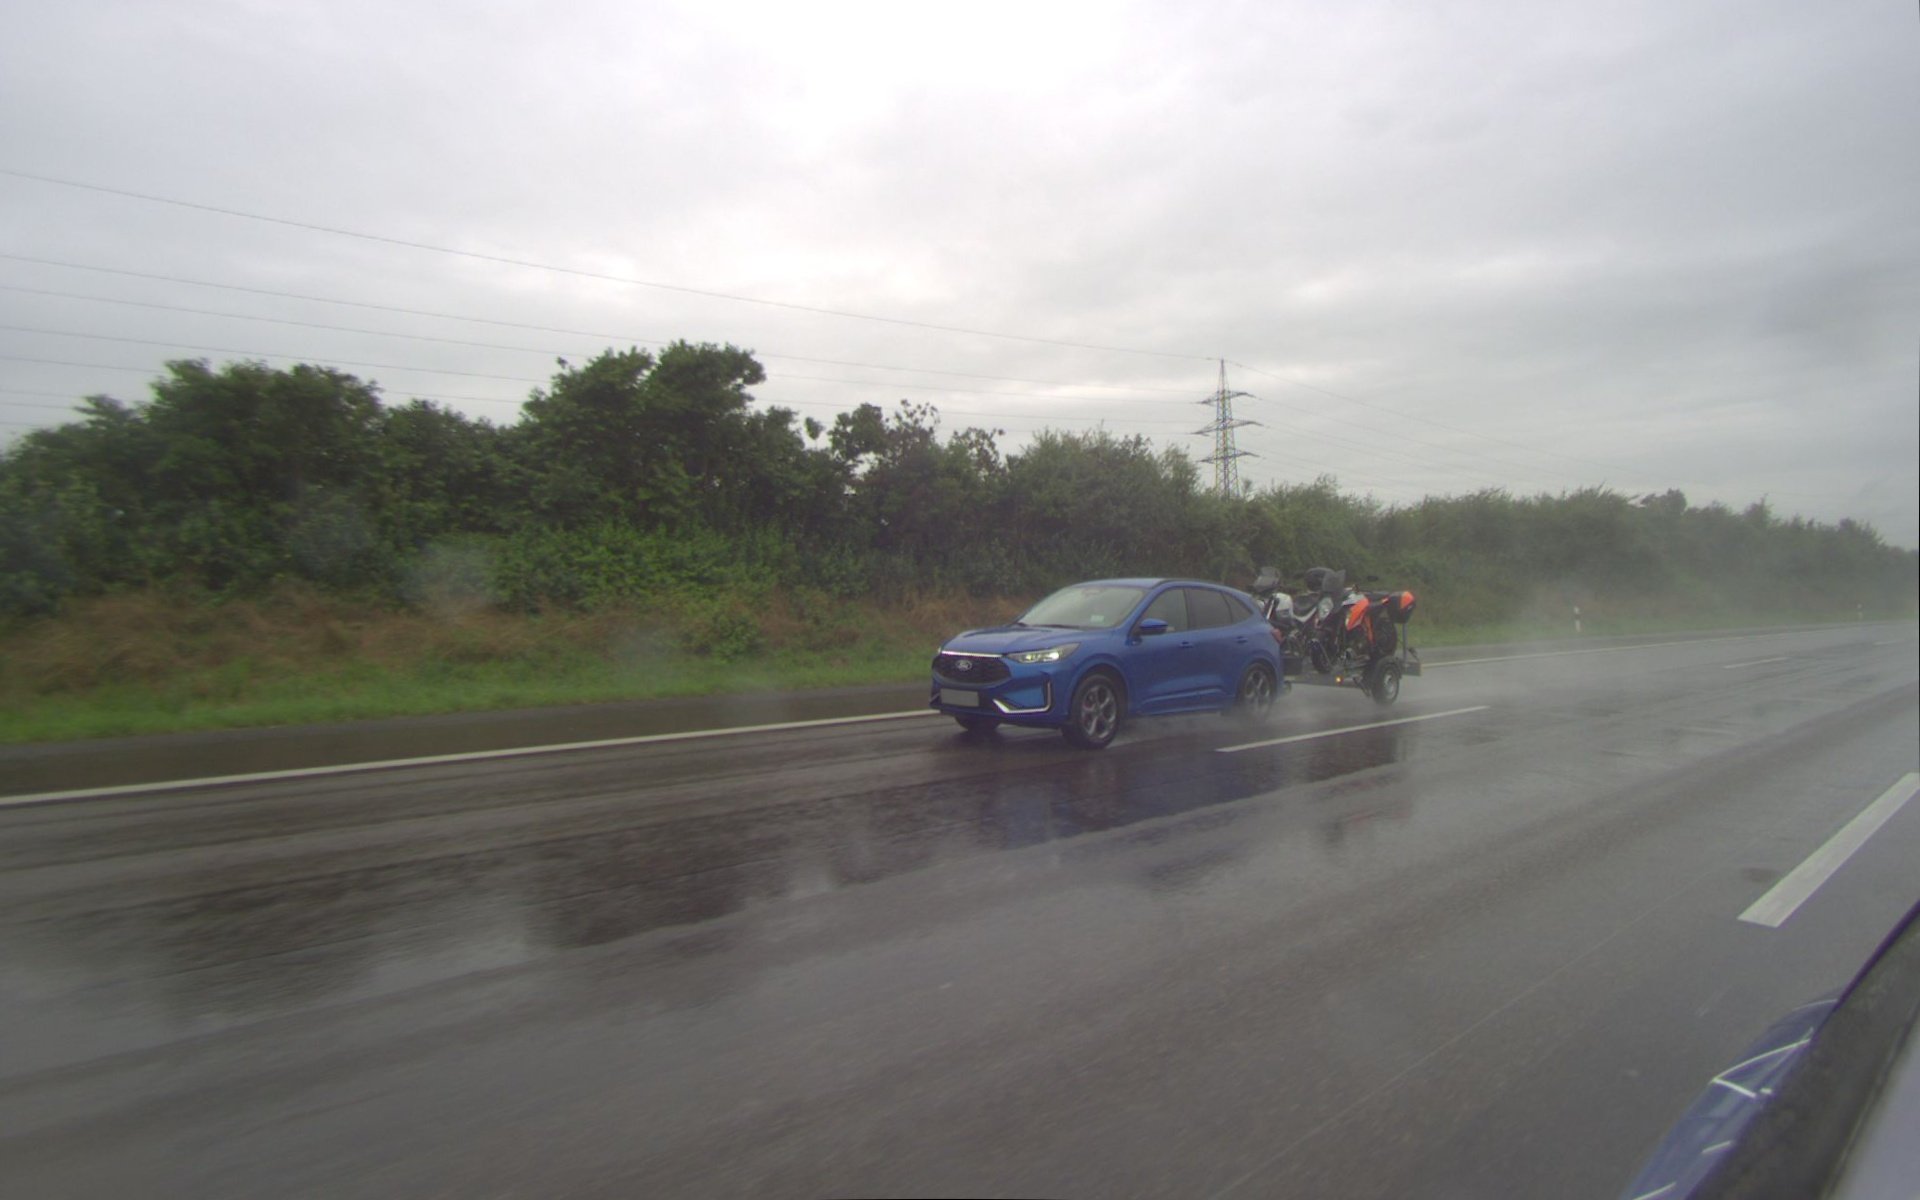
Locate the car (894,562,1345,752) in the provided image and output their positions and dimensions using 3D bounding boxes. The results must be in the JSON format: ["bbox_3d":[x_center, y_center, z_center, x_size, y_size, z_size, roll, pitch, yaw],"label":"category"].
[{"bbox_3d":[1.878,0.455,10.979,4.900,1.639,1.999,-1,1,-37],"label":"car"}]

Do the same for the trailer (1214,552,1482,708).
[{"bbox_3d":[5.177,0.323,13.467,3.130,1.807,1.984,-1,1,-37],"label":"trailer"}]
